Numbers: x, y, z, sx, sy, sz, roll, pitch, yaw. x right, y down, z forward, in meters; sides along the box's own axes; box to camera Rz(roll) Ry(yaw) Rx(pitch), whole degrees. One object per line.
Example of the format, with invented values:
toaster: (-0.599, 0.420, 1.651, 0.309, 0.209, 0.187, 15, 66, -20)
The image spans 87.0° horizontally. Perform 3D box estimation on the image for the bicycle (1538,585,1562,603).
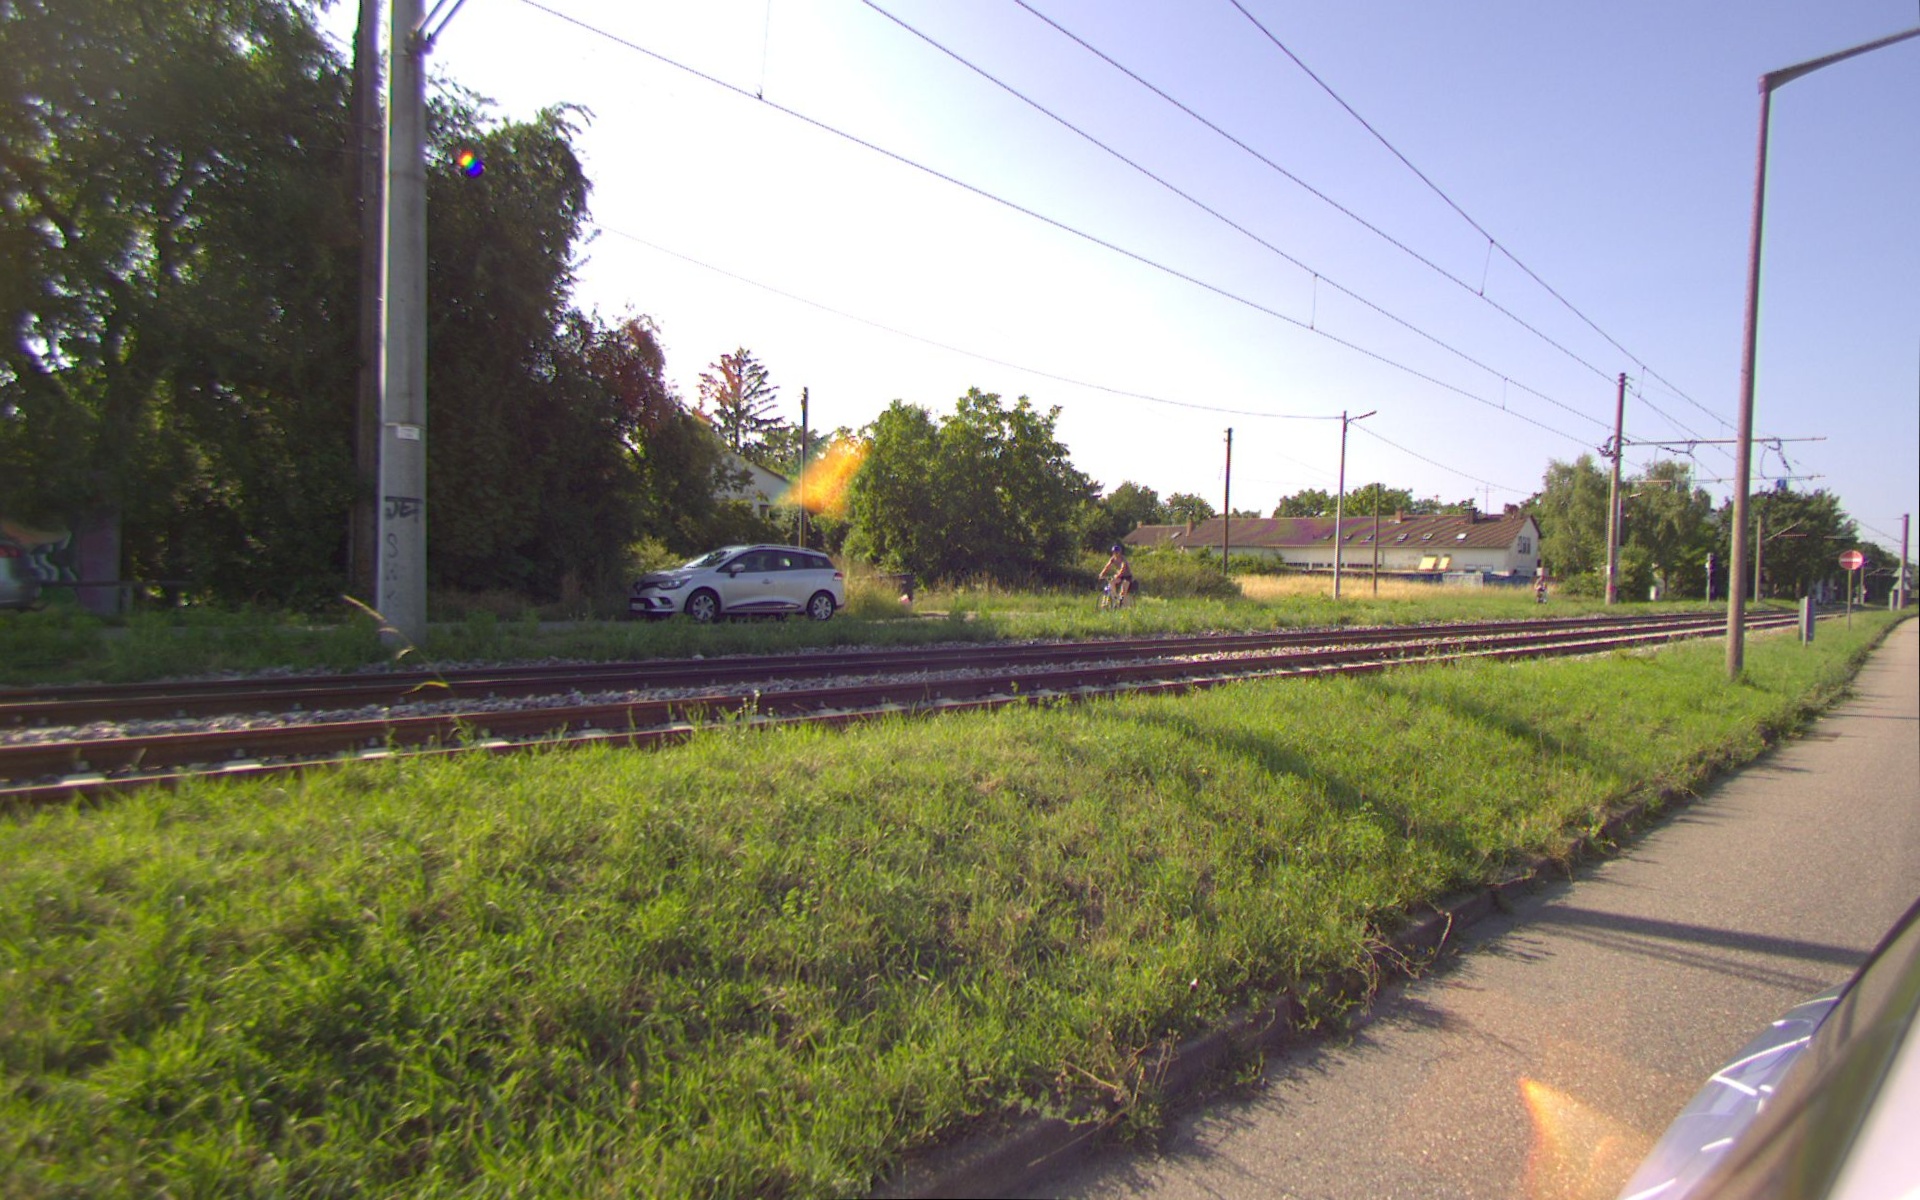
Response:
bicycle: (32.300, -0.331, 55.386, 1.782, 0.921, 0.644, 1, 0, -42)

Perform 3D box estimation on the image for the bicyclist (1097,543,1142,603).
bicyclist: (3.912, -0.664, 24.855, 0.945, 1.440, 0.630, 1, 0, -42)

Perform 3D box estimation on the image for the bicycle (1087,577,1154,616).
bicycle: (3.965, -0.084, 24.914, 1.812, 0.921, 0.644, 0, 1, -42)

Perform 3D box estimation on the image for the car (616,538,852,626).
car: (-4.108, -0.327, 18.838, 4.062, 1.466, 1.536, 0, 2, -44)

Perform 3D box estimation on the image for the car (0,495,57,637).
car: (-13.086, -0.450, 11.054, 4.640, 1.610, 1.913, 1, 2, -38)

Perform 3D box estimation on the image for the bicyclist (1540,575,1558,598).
bicyclist: (32.227, -0.760, 55.387, 0.777, 1.248, 0.640, 1, 0, -42)
